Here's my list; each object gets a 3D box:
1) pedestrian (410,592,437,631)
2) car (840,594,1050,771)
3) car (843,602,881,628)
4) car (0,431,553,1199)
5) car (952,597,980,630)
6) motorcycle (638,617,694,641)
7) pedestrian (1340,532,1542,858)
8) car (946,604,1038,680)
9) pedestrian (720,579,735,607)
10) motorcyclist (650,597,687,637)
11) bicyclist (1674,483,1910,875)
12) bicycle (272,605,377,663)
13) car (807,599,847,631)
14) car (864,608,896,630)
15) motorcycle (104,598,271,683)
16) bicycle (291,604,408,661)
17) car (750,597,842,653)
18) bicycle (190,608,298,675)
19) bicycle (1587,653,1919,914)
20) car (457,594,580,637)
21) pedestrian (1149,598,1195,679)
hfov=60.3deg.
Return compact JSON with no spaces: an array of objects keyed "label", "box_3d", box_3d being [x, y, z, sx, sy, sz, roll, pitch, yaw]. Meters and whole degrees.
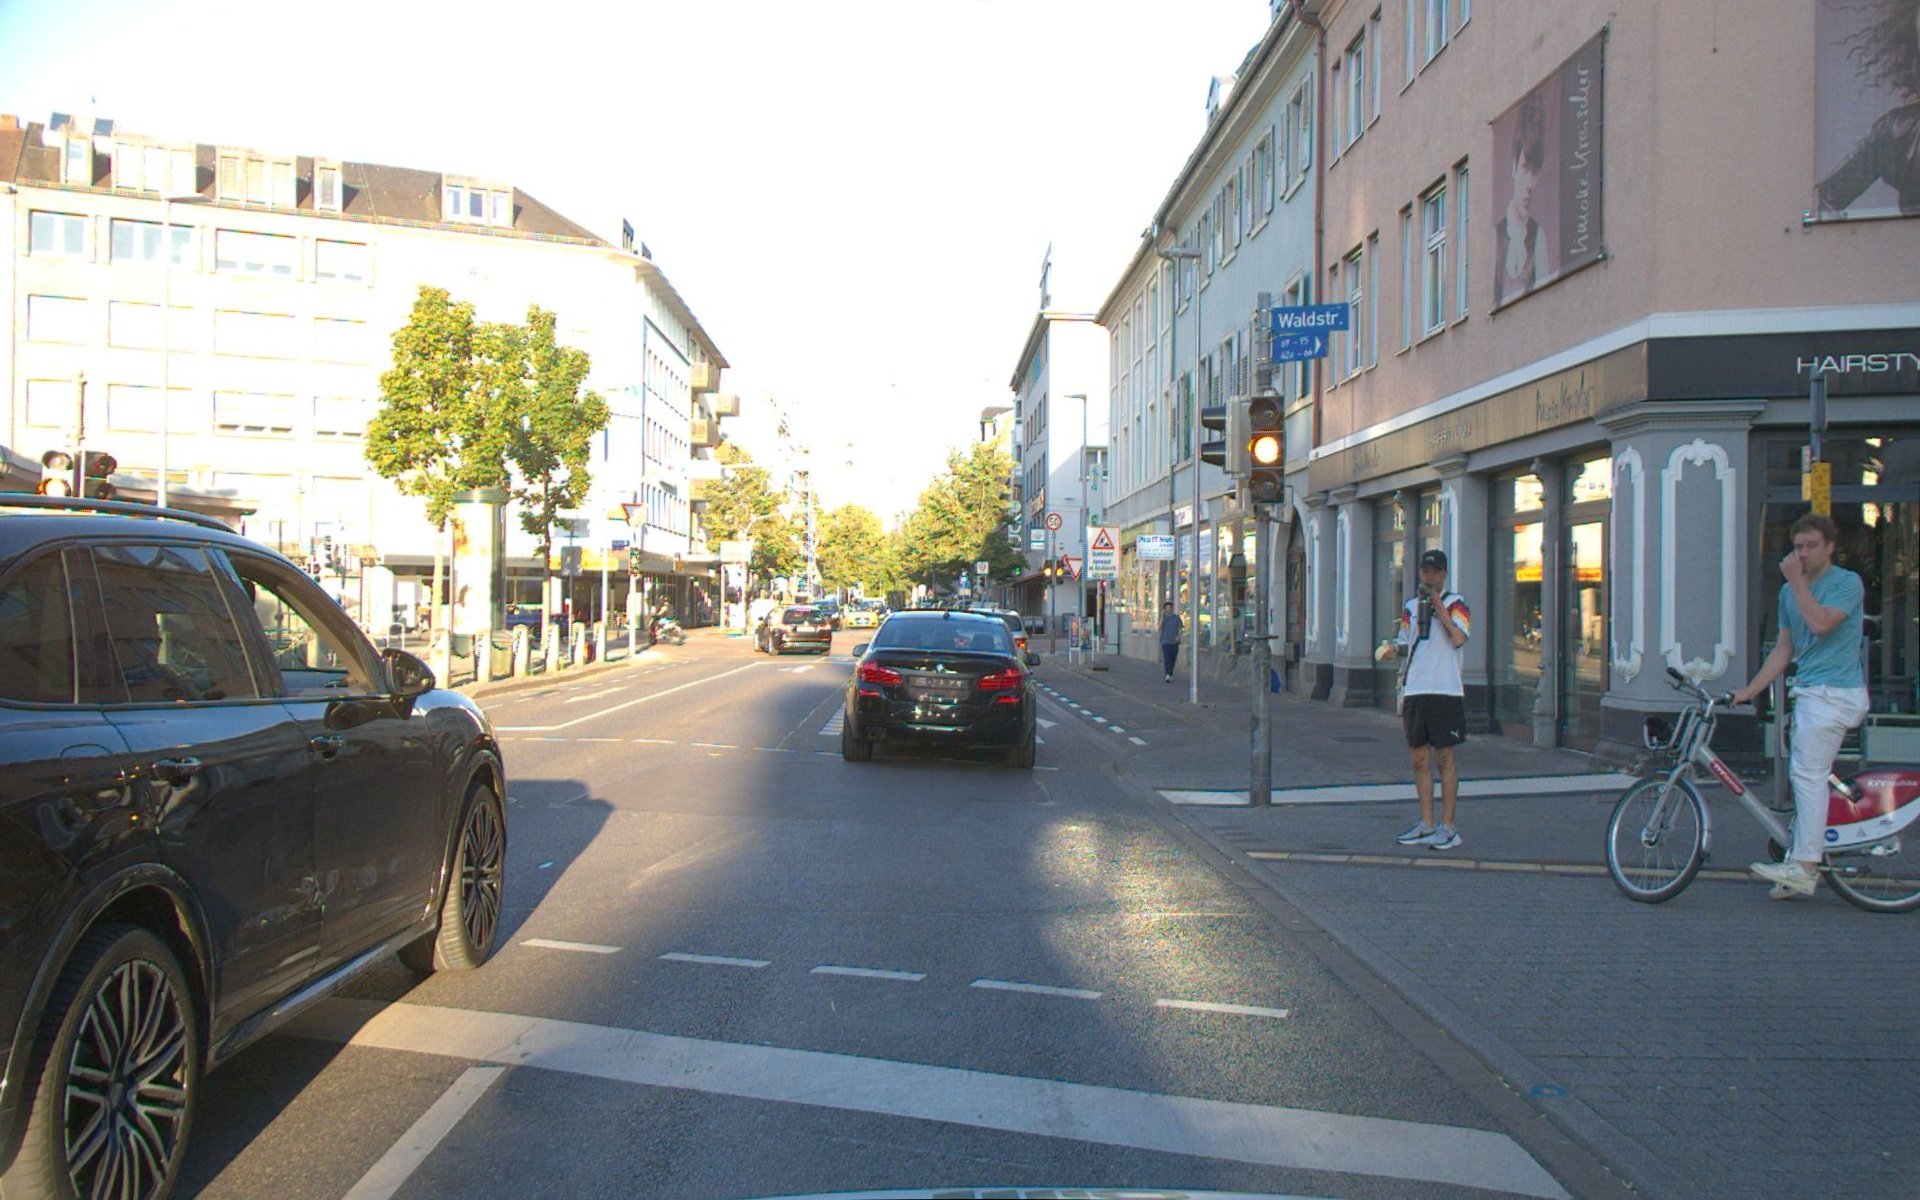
[{"label":"pedestrian","box_3d":[-22.043,0.481,67.974,0.934,1.564,0.901,1,-1,-26]},{"label":"car","box_3d":[-0.224,0.740,17.077,1.865,1.567,4.447,1,0,-3]},{"label":"car","box_3d":[-5.695,0.840,95.578,1.956,1.467,3.994,1,0,-7]},{"label":"car","box_3d":[-2.718,0.557,4.878,1.909,1.744,4.561,0,0,0]},{"label":"car","box_3d":[0.335,0.822,98.938,1.393,1.887,3.050,2,-1,-4]},{"label":"motorcycle","box_3d":[-10.220,1.004,57.449,1.989,0.794,0.662,1,0,31]},{"label":"pedestrian","box_3d":[3.023,0.568,10.410,0.929,1.931,0.817,1,-1,-32]},{"label":"car","box_3d":[0.671,0.908,37.729,1.796,1.603,4.098,1,0,-3]},{"label":"pedestrian","box_3d":[-14.422,-0.413,102.497,0.807,1.706,0.871,1,0,-3]},{"label":"motorcyclist","box_3d":[-10.133,0.594,57.469,0.973,1.343,0.766,1,0,33]},{"label":"bicyclist","box_3d":[4.158,0.373,8.331,0.815,1.858,0.831,1,0,6]},{"label":"bicycle","box_3d":[-14.193,0.747,36.987,1.964,1.278,0.949,0,0,0]},{"label":"car","box_3d":[-7.260,0.808,90.018,1.956,1.646,3.994,1,0,-7]},{"label":"car","box_3d":[-4.972,1.169,102.364,1.701,1.315,3.994,1,0,-7]},{"label":"motorcycle","box_3d":[-13.633,0.703,29.248,2.528,1.454,0.868,0,0,0]},{"label":"bicycle","box_3d":[-14.129,0.745,38.292,2.393,1.278,0.787,0,0,0]},{"label":"car","box_3d":[-5.063,0.738,50.616,1.844,1.623,4.425,1,0,-19]},{"label":"bicycle","box_3d":[-14.037,0.810,32.449,1.816,1.278,0.633,0,0,0]},{"label":"bicycle","box_3d":[4.185,0.891,8.347,1.781,1.207,0.794,0,0,8]},{"label":"car","box_3d":[-16.261,0.560,61.069,3.902,1.512,2.002,1,0,7]},{"label":"pedestrian","box_3d":[4.436,0.795,34.639,0.807,1.670,0.871,0,0,-3]}]
